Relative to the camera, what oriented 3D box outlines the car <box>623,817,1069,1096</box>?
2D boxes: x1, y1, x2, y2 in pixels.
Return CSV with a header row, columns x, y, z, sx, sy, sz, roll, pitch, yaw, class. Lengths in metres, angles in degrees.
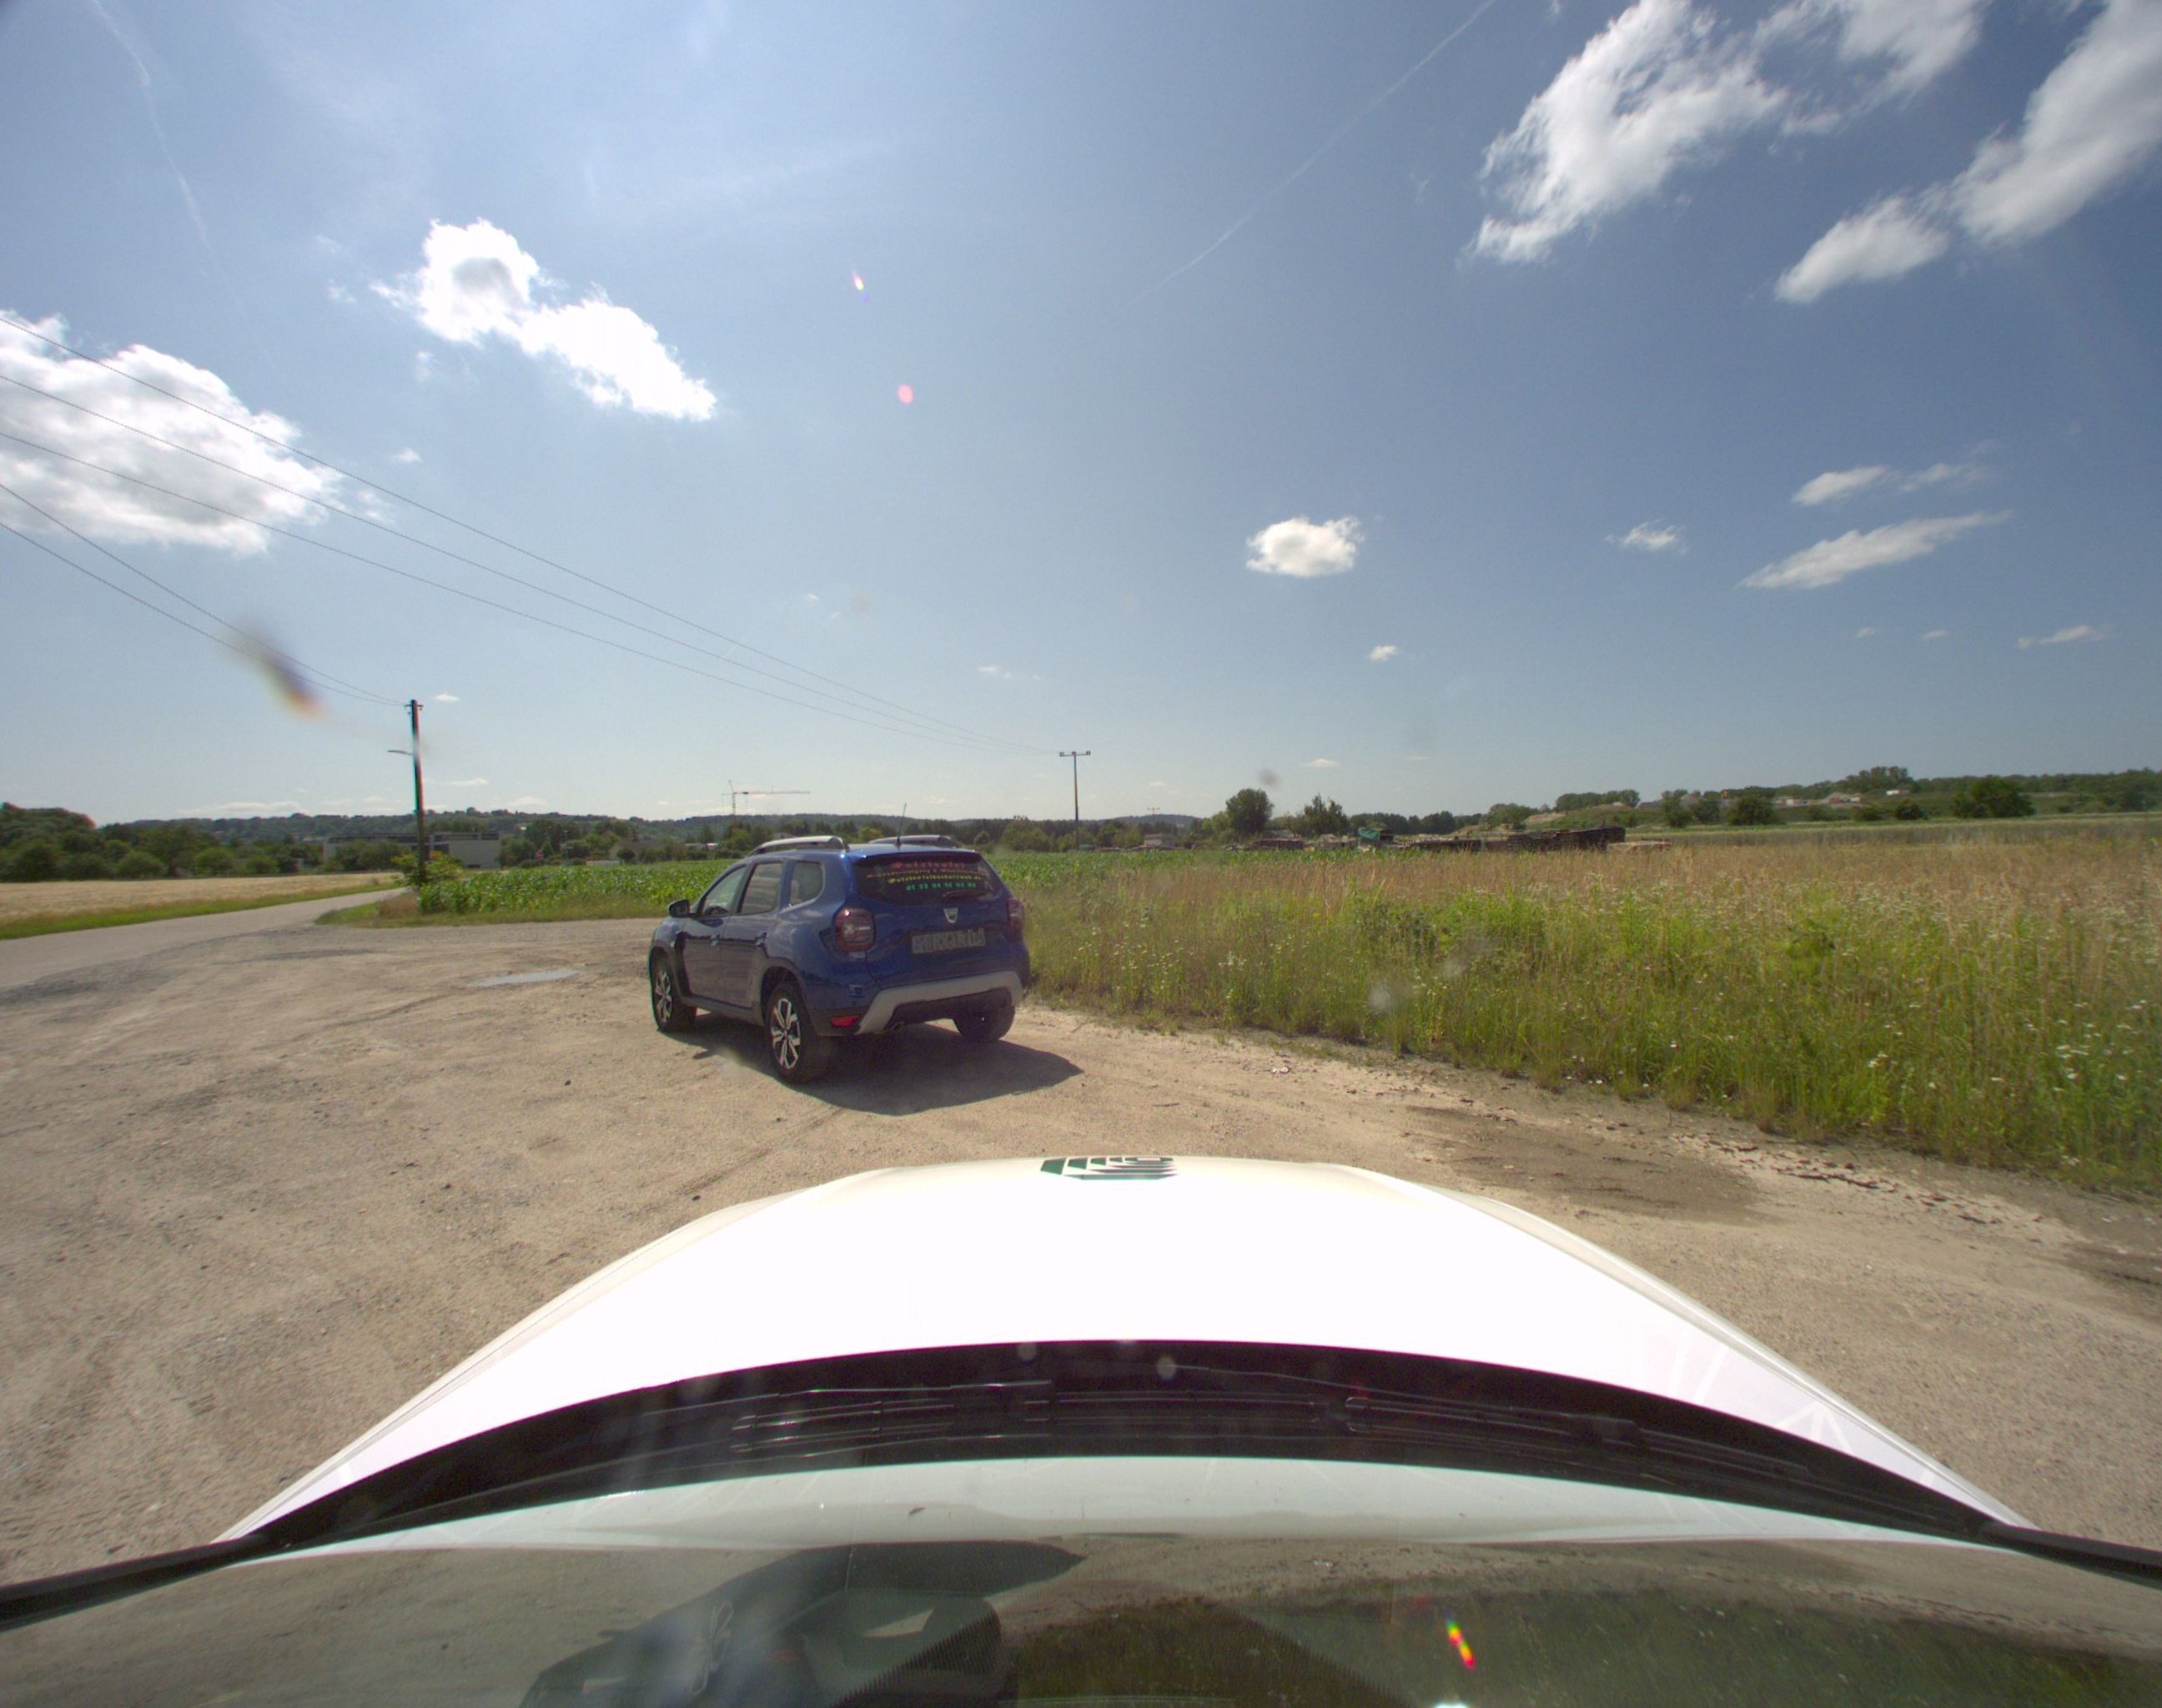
x,y,z,sx,sy,sz,roll,pitch,yaw,class
-2.310,0.656,7.096,1.875,1.661,4.403,-1,-1,-44,car
